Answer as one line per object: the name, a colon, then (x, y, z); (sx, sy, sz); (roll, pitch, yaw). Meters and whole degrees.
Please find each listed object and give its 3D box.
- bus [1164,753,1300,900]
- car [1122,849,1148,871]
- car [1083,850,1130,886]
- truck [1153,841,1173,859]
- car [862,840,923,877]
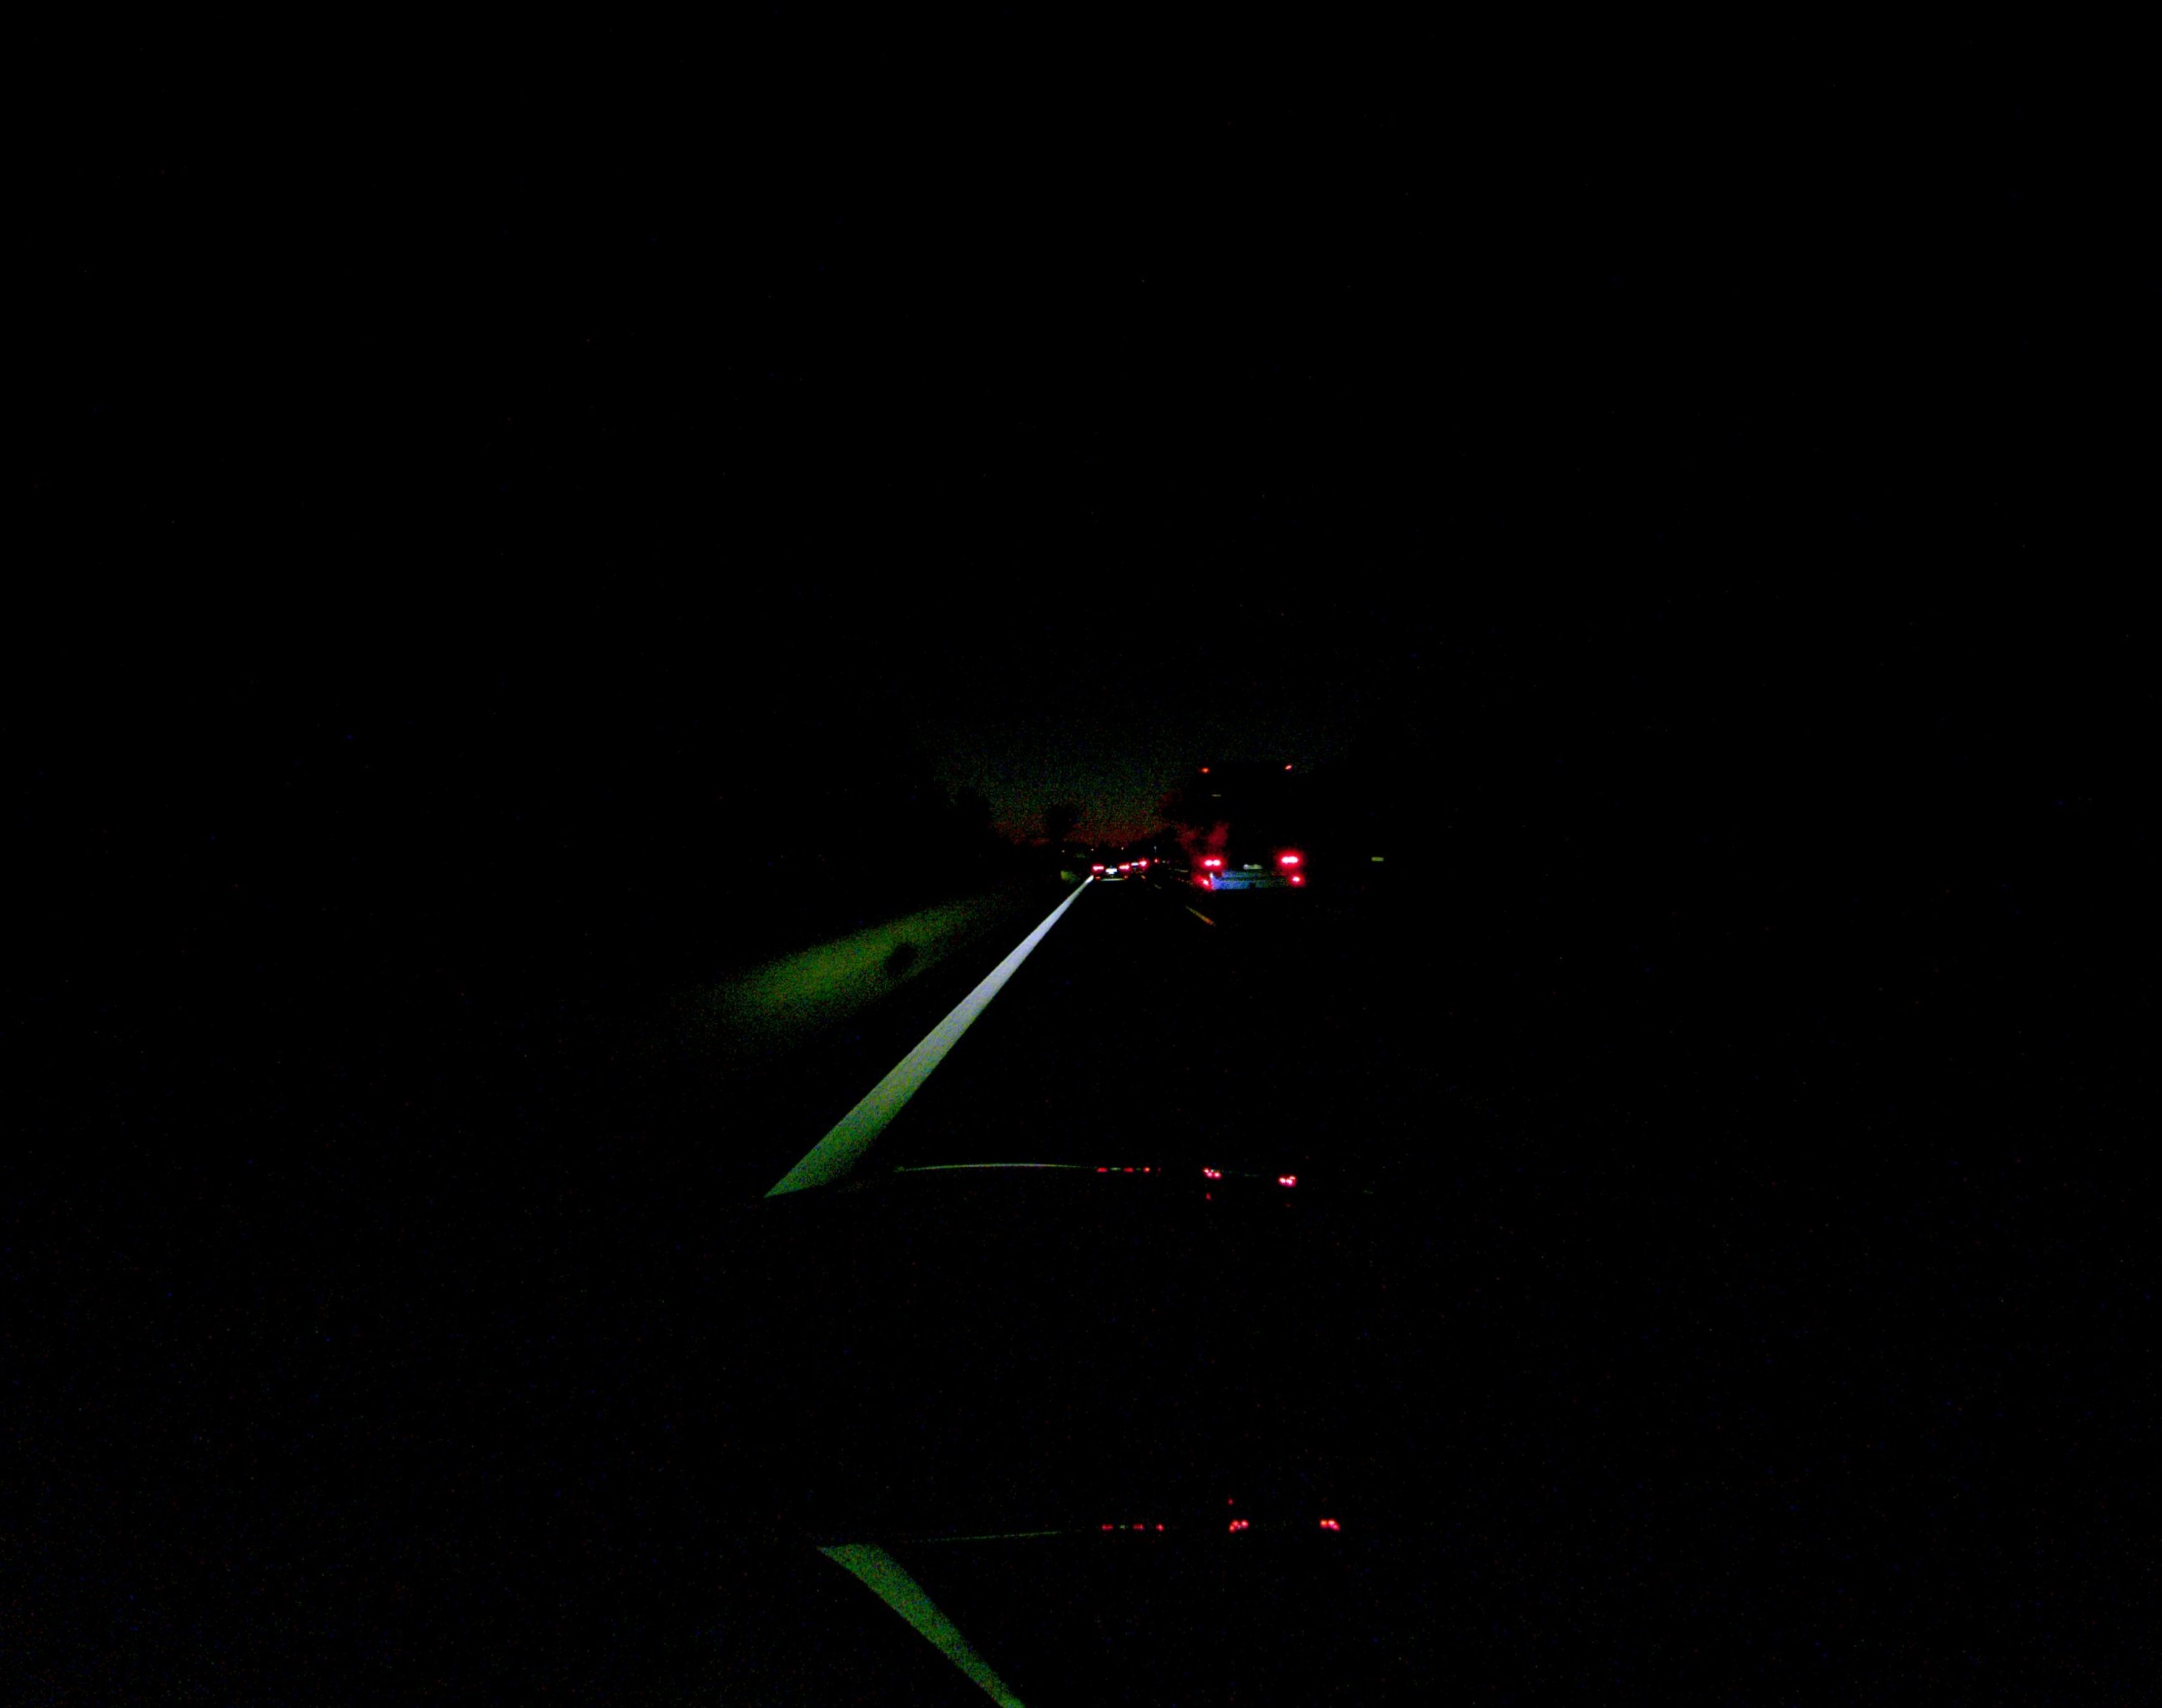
bus: (4.877, -0.665, 29.644); (2.642, 3.994, 14.707); (-1, -1, 2)
car: (4.335, 0.512, 65.983); (1.905, 1.730, 4.000); (-1, -1, 0)
car: (1.199, 0.671, 38.926); (2.098, 1.618, 4.204); (-1, -1, 1)
truck: (13.208, -0.587, 131.559); (2.593, 2.875, 7.487); (0, 0, 1)
car: (-9.776, 0.219, 42.577); (1.986, 1.776, 4.749); (2, 1, 1)
